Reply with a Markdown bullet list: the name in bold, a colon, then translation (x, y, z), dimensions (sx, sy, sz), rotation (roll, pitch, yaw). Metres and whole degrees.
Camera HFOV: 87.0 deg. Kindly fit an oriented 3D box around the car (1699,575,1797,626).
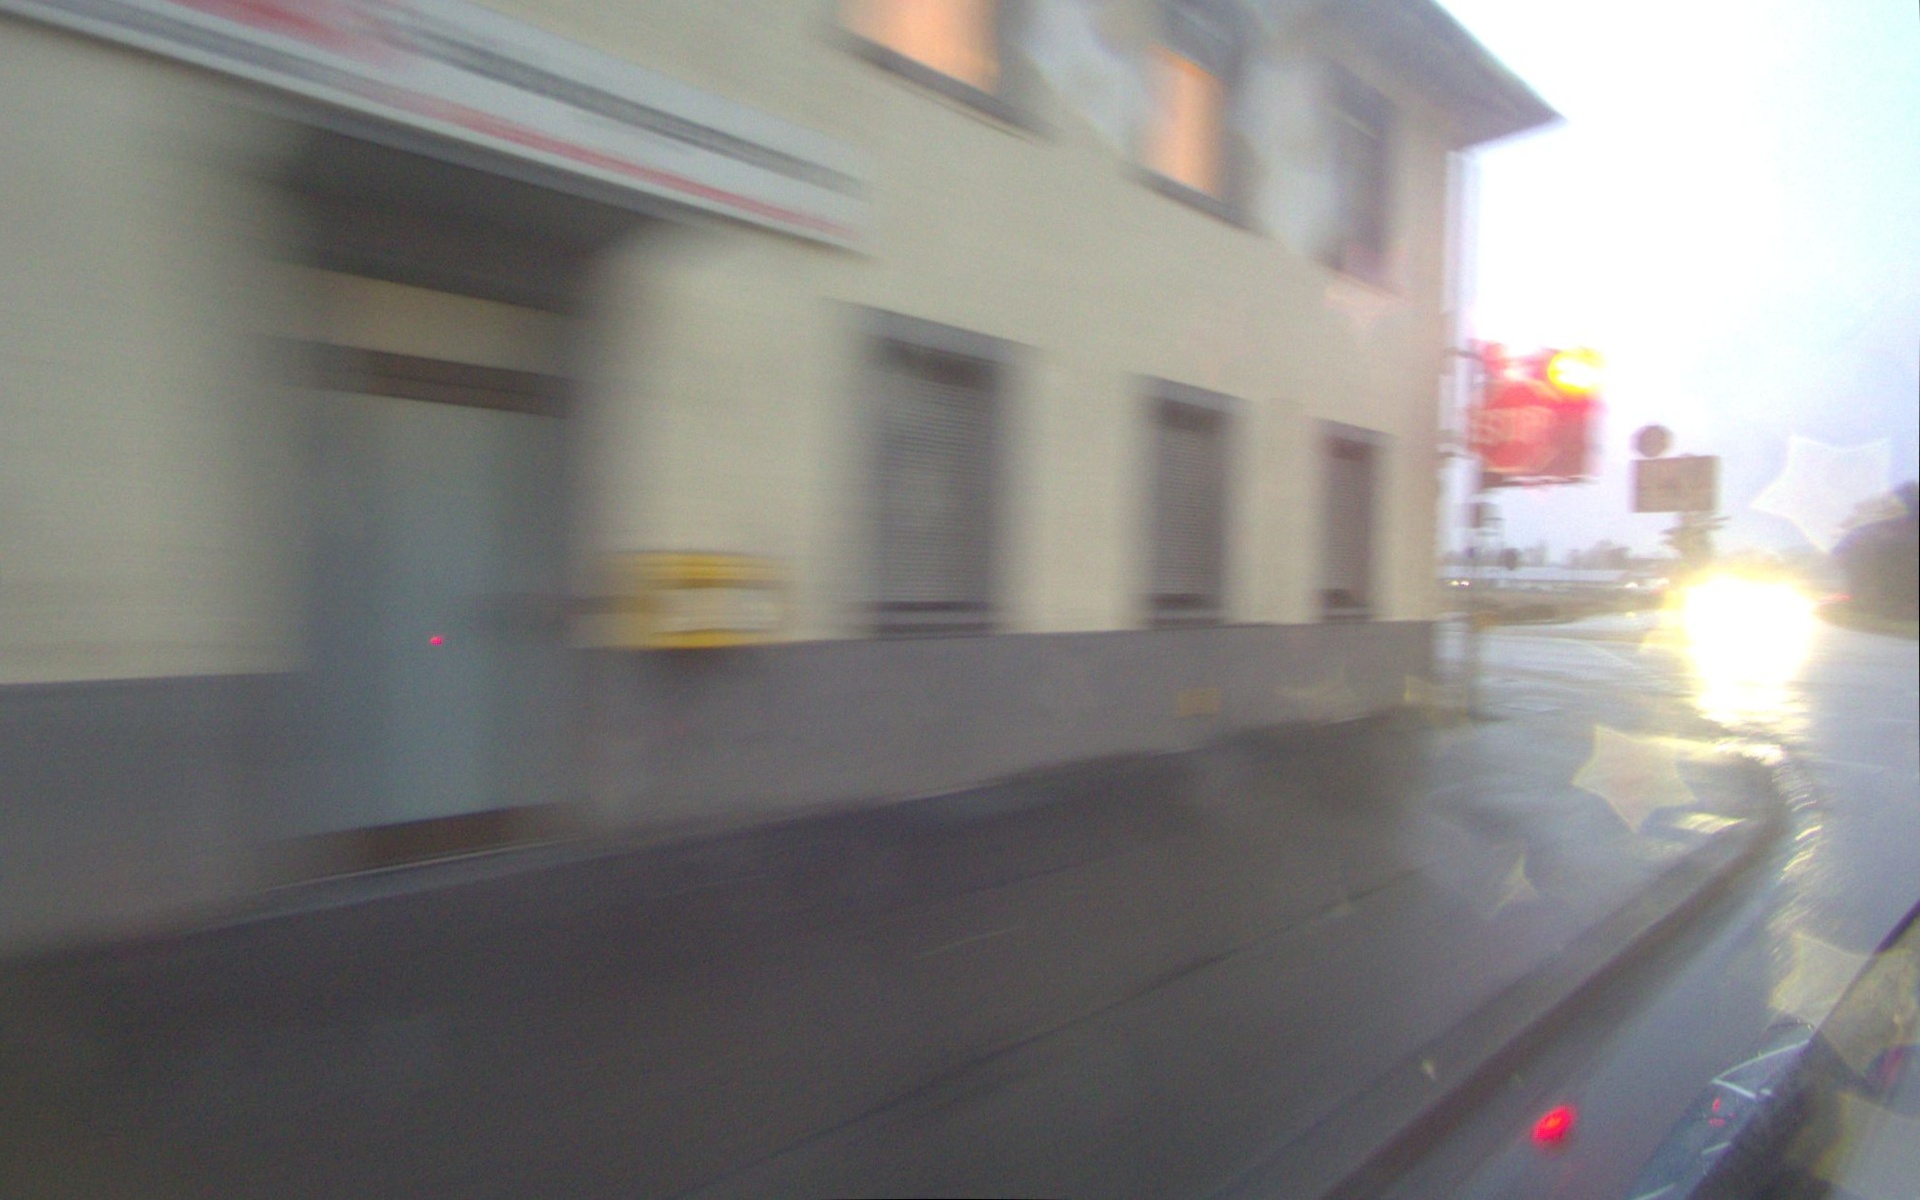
- **car**: translation (28.738, -0.014, 37.040), dimensions (1.798, 1.710, 3.886), rotation (2, 1, 23)
